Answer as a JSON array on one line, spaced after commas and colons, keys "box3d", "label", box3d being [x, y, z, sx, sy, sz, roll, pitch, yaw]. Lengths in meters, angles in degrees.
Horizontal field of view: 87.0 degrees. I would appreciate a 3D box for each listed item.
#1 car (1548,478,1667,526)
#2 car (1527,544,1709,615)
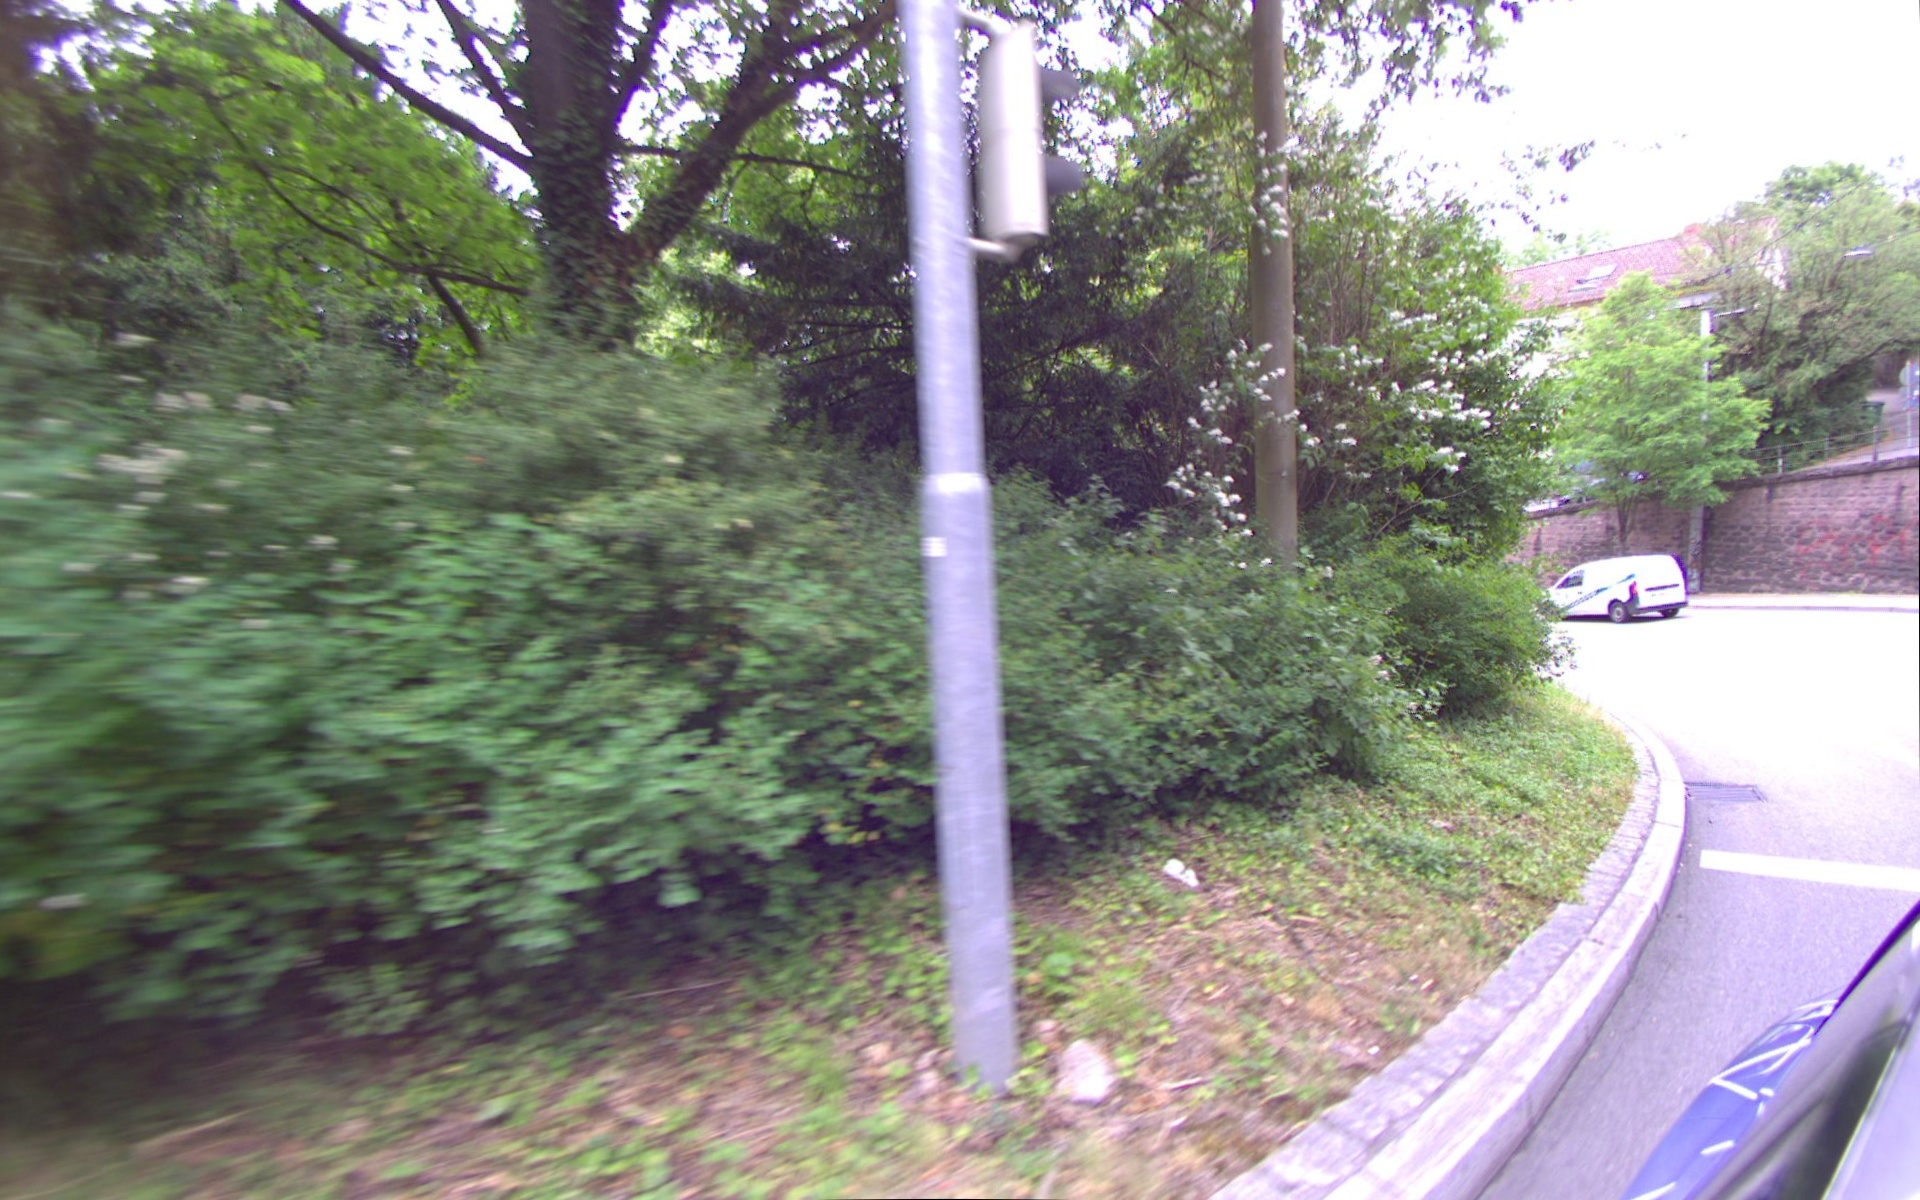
[{"box3d": [28.531, -4.298, 44.723, 1.740, 1.659, 4.071, -7, 3, -25], "label": "car"}, {"box3d": [19.645, -0.546, 30.523, 1.791, 1.785, 4.675, -7, 0, -8], "label": "car"}]
